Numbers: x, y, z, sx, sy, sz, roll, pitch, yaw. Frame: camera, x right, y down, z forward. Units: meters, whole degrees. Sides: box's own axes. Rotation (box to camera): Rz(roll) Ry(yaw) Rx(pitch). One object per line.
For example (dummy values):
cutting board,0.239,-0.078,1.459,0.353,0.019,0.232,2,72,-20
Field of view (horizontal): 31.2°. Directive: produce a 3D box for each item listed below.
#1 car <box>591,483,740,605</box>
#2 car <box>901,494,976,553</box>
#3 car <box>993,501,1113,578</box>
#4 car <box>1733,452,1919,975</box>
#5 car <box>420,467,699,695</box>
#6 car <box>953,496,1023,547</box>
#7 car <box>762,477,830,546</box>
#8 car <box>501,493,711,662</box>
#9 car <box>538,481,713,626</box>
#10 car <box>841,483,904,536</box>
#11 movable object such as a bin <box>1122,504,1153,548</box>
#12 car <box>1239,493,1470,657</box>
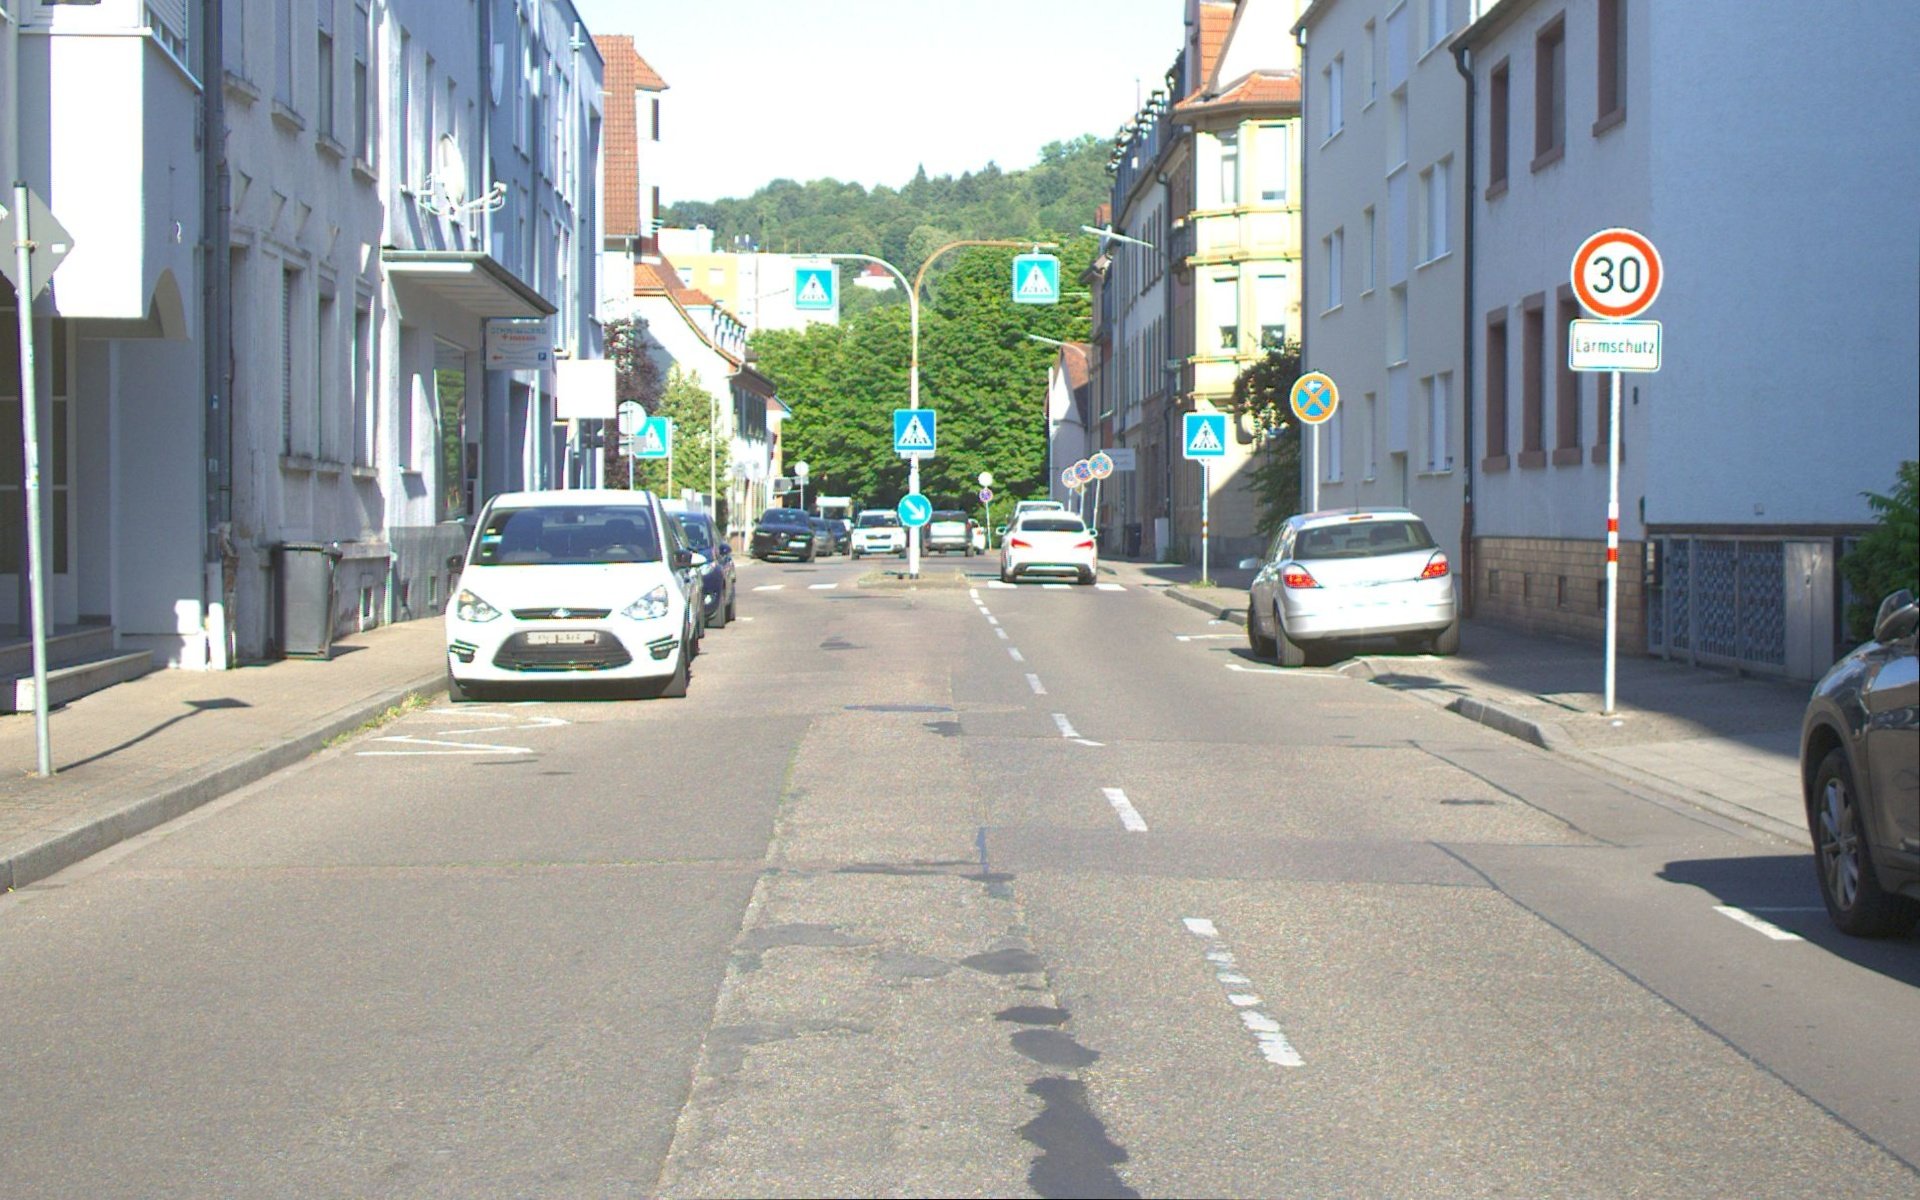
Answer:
car,-3.764,-0.727,44.440,1.730,1.494,3.959,0,1,-2
car,-0.758,-2.680,119.533,1.993,2.006,4.001,0,2,-10
car,1.784,-1.194,66.881,1.993,1.461,4.001,0,2,-3
car,3.907,0.330,10.742,1.854,1.630,4.623,-2,2,-1
car,-3.143,-0.225,27.909,1.993,1.642,5.223,1,2,-4
car,1.113,-3.185,138.617,1.993,2.006,4.002,0,2,-12
car,-4.990,-2.709,104.474,1.993,2.006,4.001,1,2,-3
car,-3.383,-0.272,33.496,1.764,1.490,4.127,-2,2,-3
car,-3.696,-0.557,38.494,1.660,1.521,3.809,1,2,-1
car,-2.930,-3.022,114.153,1.807,1.695,4.193,-2,2,-5
movable object such as a bin,5.662,-2.371,109.694,0.871,1.373,0.685,-1,3,-4
car,3.841,-0.300,34.129,1.741,1.487,4.439,-1,2,0
